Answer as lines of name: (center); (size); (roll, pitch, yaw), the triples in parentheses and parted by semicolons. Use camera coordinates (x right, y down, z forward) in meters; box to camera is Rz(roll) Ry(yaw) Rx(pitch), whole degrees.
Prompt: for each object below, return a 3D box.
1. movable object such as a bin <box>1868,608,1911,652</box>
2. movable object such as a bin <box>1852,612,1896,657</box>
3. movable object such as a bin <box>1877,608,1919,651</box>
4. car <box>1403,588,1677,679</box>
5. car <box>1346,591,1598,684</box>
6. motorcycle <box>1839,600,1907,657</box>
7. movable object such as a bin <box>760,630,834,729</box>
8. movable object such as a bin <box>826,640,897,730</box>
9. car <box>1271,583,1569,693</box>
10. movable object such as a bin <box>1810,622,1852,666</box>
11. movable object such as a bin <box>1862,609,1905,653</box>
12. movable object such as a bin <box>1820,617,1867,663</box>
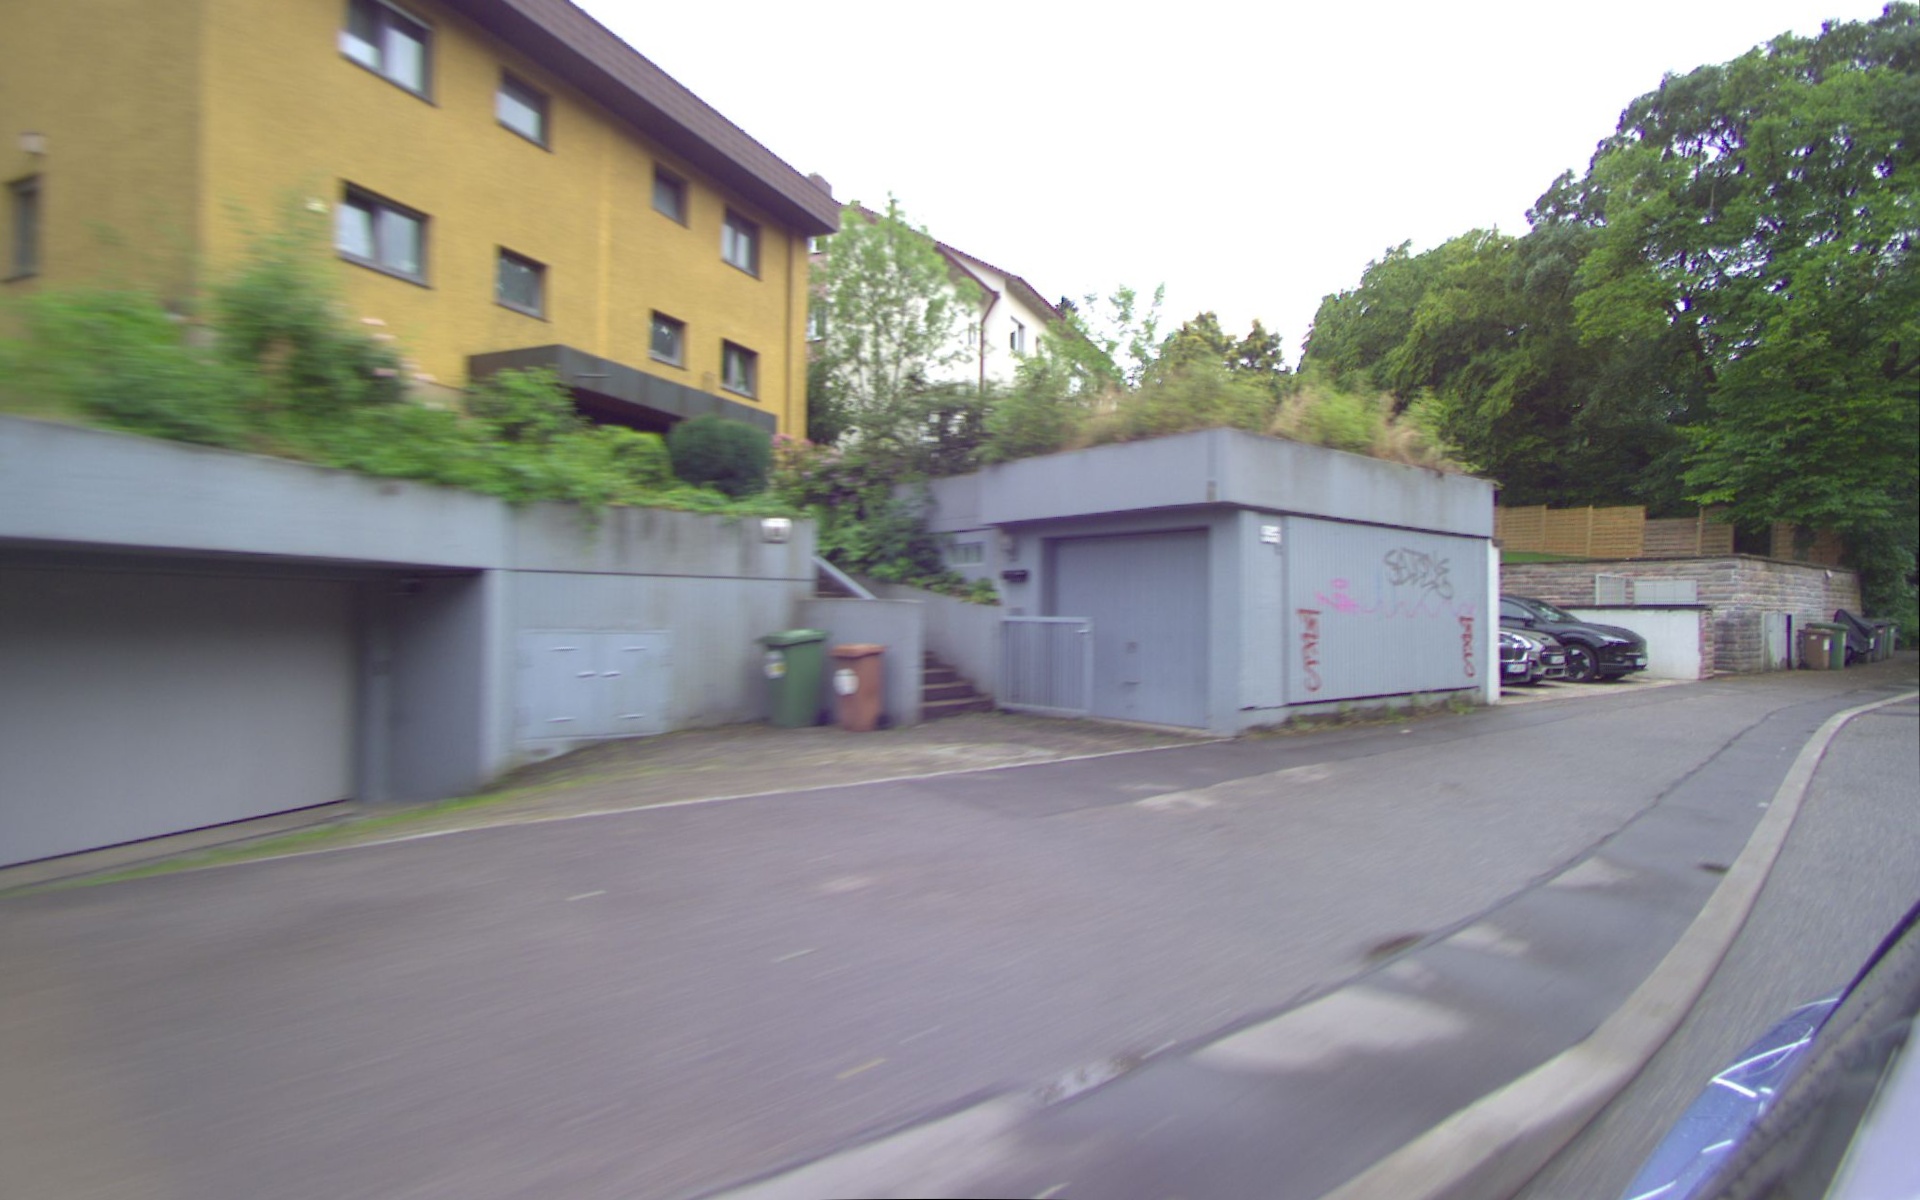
movable object such as a bin: (23.649, 0.760, 25.741); (0.688, 1.082, 0.667); (0, -1, -37)
movable object such as a bin: (22.420, 0.840, 24.831); (0.647, 1.082, 0.667); (0, -1, -37)
movable object such as a bin: (24.307, 0.753, 26.209); (0.688, 1.082, 0.667); (0, -1, -37)
car: (11.115, 0.555, 19.650); (1.860, 1.526, 4.230); (0, 1, -37)
car: (9.099, 0.583, 18.199); (1.803, 1.444, 3.644); (0, 1, -38)
motorcycle: (21.372, 0.642, 23.679); (1.976, 1.261, 0.777); (-1, -1, -37)
movable object such as a bin: (-1.837, 0.873, 11.397); (0.625, 1.049, 0.527); (0, -1, -42)
movable object such as a bin: (-1.065, 0.905, 10.962); (0.555, 0.918, 0.527); (0, -1, -42)
car: (7.376, 0.526, 16.597); (1.921, 1.534, 4.050); (1, 0, -33)
movable object such as a bin: (19.377, 0.963, 22.515); (0.539, 0.949, 0.570); (0, -1, -37)
movable object such as a bin: (23.076, 0.771, 25.286); (0.647, 1.082, 0.667); (0, -1, -37)
movable object such as a bin: (19.995, 0.903, 22.904); (0.647, 1.017, 0.667); (0, -1, -37)
